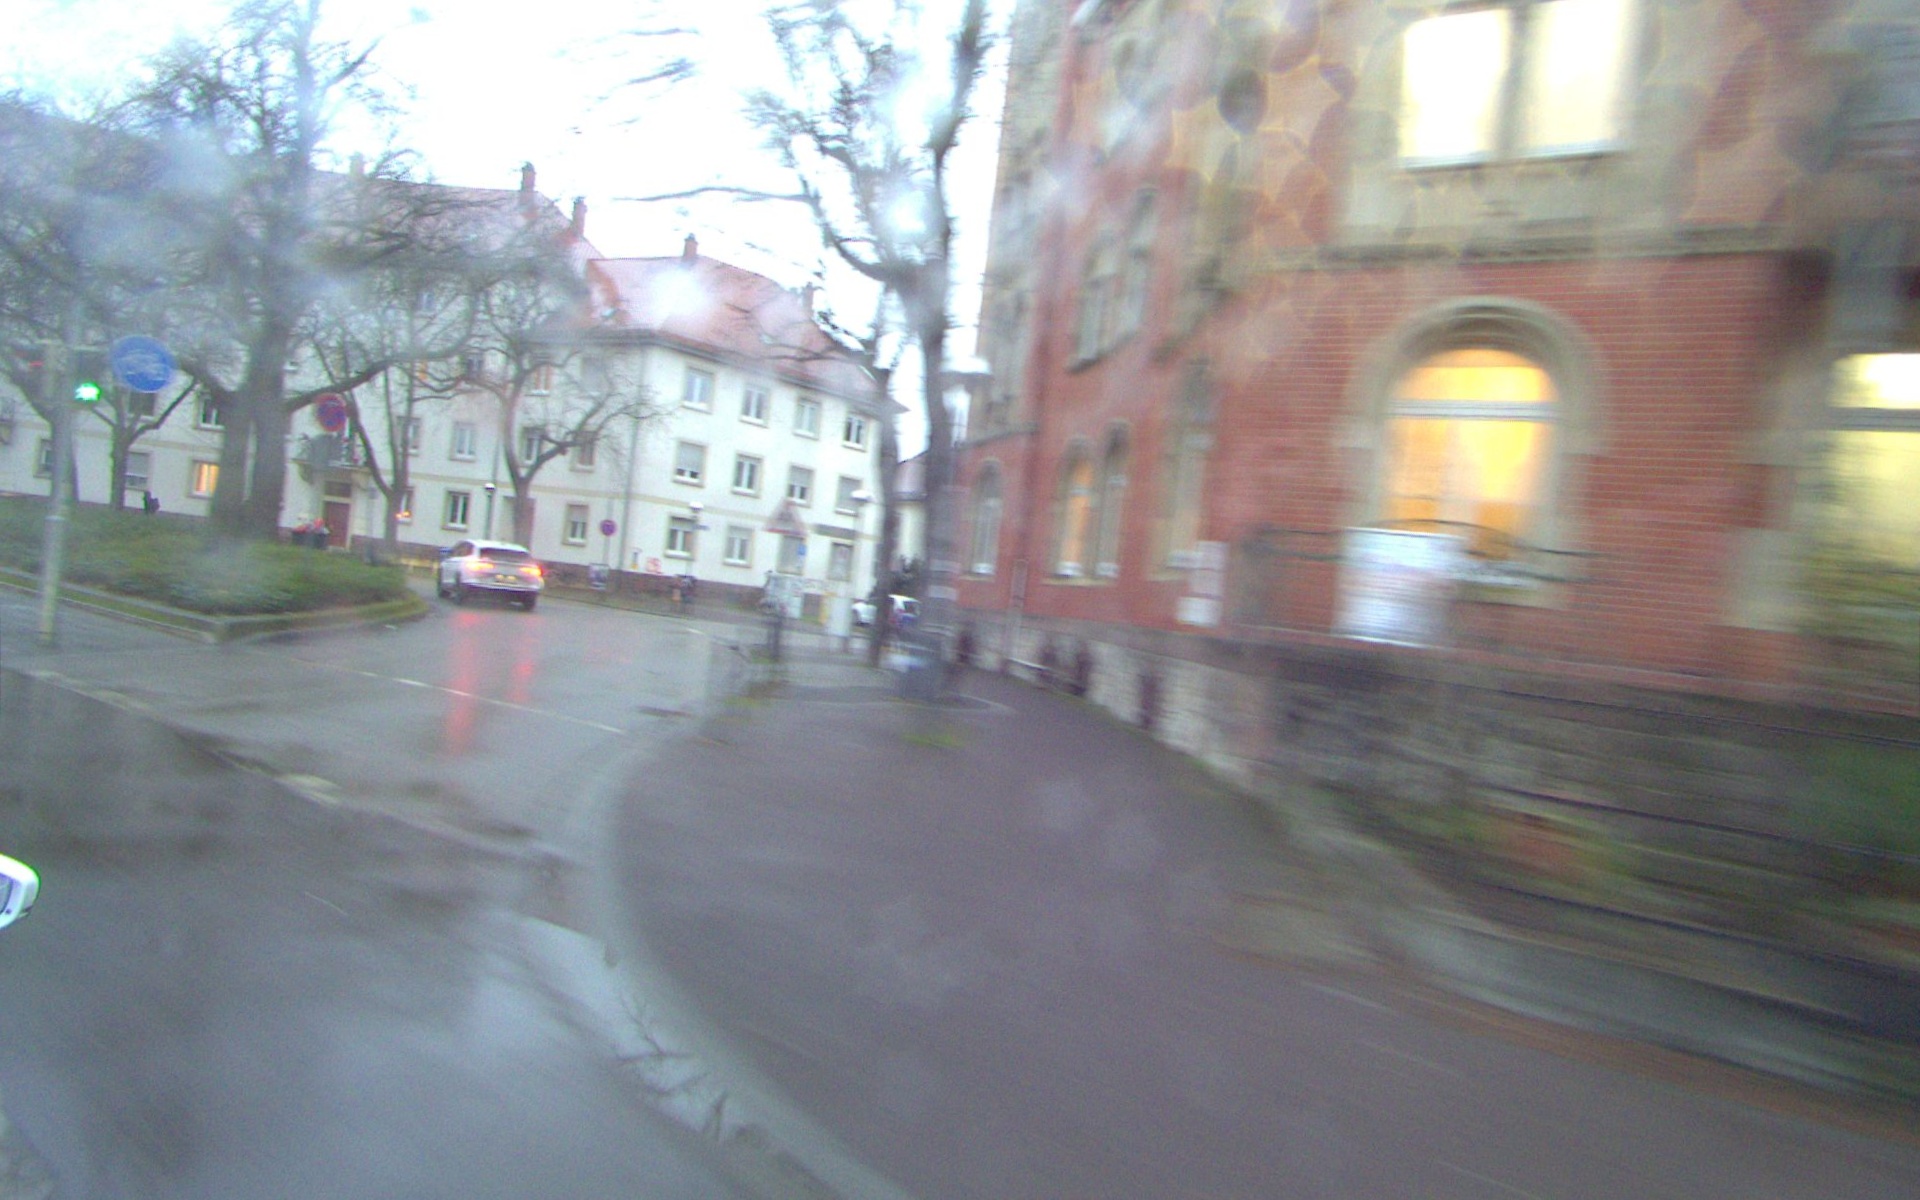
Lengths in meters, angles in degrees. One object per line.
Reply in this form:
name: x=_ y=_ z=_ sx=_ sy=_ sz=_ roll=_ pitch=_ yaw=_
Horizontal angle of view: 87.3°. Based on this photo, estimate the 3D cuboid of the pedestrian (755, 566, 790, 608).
pedestrian: x=-8.159 y=-0.553 z=43.782 sx=0.750 sy=1.663 sz=1.116 roll=8 pitch=1 yaw=43

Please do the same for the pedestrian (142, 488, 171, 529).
pedestrian: x=-35.024 y=-3.974 z=43.868 sx=0.705 sy=1.682 sz=0.684 roll=6 pitch=2 yaw=-24

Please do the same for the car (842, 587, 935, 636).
car: x=-2.935 y=0.443 z=40.560 sx=1.834 sy=1.504 sz=3.962 roll=7 pitch=0 yaw=-34

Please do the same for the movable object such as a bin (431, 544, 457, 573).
movable object such as a bin: x=-19.688 y=-1.572 z=38.382 sx=0.638 sy=0.993 sz=0.528 roll=7 pitch=1 yaw=15

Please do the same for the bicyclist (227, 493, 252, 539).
bicyclist: x=-31.045 y=-3.612 z=43.357 sx=0.667 sy=1.910 sz=0.467 roll=7 pitch=1 yaw=27

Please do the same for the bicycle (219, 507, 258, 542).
bicycle: x=-31.112 y=-3.261 z=43.364 sx=1.880 sy=1.307 sz=0.467 roll=7 pitch=1 yaw=27

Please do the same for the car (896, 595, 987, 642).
car: x=-0.833 y=0.756 z=42.104 sx=1.834 sy=1.494 sz=3.962 roll=7 pitch=0 yaw=-34

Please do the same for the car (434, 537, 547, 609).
car: x=-12.256 y=-0.724 z=26.070 sx=1.881 sy=1.528 sz=4.713 roll=6 pitch=-1 yaw=-33

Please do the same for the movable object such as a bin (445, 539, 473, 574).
movable object such as a bin: x=-19.008 y=-1.657 z=38.169 sx=0.638 sy=1.244 sz=0.528 roll=7 pitch=1 yaw=15
